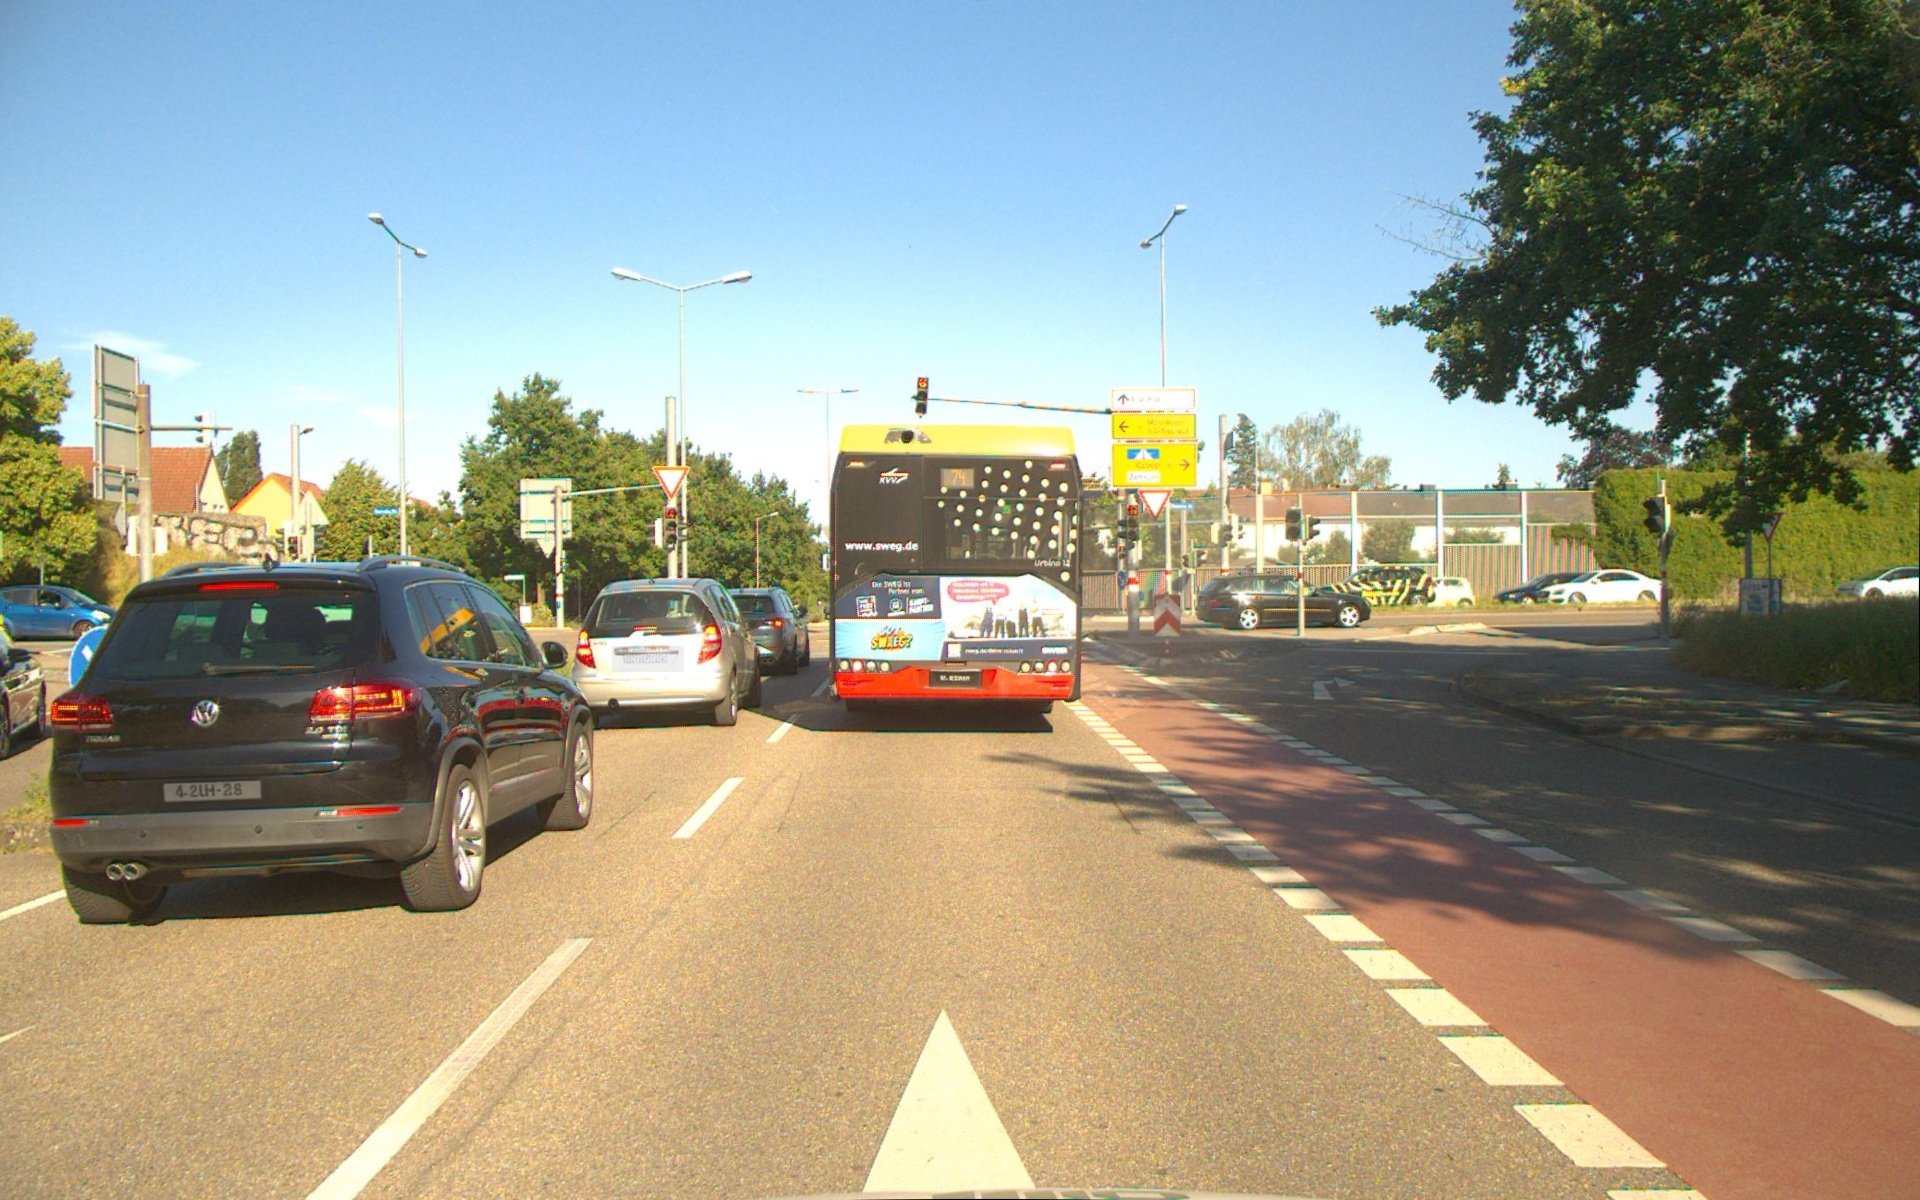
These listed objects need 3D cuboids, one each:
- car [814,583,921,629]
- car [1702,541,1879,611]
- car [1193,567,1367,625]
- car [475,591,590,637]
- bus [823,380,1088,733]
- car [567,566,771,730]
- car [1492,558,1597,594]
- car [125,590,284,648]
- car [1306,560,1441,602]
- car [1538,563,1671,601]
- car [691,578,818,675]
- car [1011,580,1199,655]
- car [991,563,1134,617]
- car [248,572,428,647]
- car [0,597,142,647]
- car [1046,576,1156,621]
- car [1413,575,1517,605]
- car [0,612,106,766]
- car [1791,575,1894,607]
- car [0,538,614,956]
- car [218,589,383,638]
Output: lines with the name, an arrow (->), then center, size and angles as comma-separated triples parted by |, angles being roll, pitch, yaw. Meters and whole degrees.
car -> -3.481, 0.199, 61.722 | 3.910, 1.640, 1.693 | -1, 0, -6
car -> 16.598, -0.460, 33.055 | 3.355, 1.318, 1.448 | 1, -1, -26
car -> 8.704, -0.122, 45.199 | 4.375, 1.466, 1.681 | -1, 1, -5
car -> -15.775, 0.494, 61.184 | 3.910, 1.640, 1.693 | -1, 0, -6
bus -> -0.108, -0.483, 21.998 | 2.543, 3.392, 11.982 | 0, 1, -1
car -> -3.254, 0.458, 19.203 | 1.718, 1.648, 4.033 | -1, 2, -1
car -> 22.247, -0.914, 62.996 | 3.453, 1.325, 1.574 | 0, 0, -4
car -> -20.598, 0.511, 45.178 | 3.600, 1.511, 1.591 | -1, 0, -7
car -> 13.745, -0.616, 55.054 | 4.077, 1.325, 1.573 | 0, 0, -4
car -> 23.226, -0.662, 59.678 | 4.204, 1.325, 1.574 | 0, 0, -4
car -> -3.408, 0.424, 27.992 | 1.555, 1.511, 3.683 | -1, 0, 2
car -> 2.780, 0.318, 31.422 | 3.447, 1.325, 1.576 | -1, 1, 8
car -> 3.102, -0.300, 50.490 | 4.139, 1.590, 1.761 | 0, 0, -5
car -> -15.820, 0.232, 42.209 | 4.032, 1.832, 1.456 | -1, 0, -6
car -> -25.926, 0.623, 47.733 | 3.775, 1.409, 1.679 | 1, 0, -9
car -> 5.315, -0.053, 62.794 | 3.910, 1.640, 1.693 | -1, 0, -6
car -> 20.314, -0.404, 66.575 | 3.682, 1.156, 1.574 | 0, 0, -4
car -> -10.667, 0.916, 17.546 | 1.962, 1.427, 4.566 | -4, 1, -17
car -> 35.872, -0.367, 67.283 | 3.511, 1.287, 1.353 | 0, 0, -2
car -> -3.194, 0.631, 9.003 | 1.784, 1.702, 4.002 | -2, 0, -1
car -> -21.648, 0.428, 54.452 | 4.610, 1.567, 1.998 | 0, 0, -5
